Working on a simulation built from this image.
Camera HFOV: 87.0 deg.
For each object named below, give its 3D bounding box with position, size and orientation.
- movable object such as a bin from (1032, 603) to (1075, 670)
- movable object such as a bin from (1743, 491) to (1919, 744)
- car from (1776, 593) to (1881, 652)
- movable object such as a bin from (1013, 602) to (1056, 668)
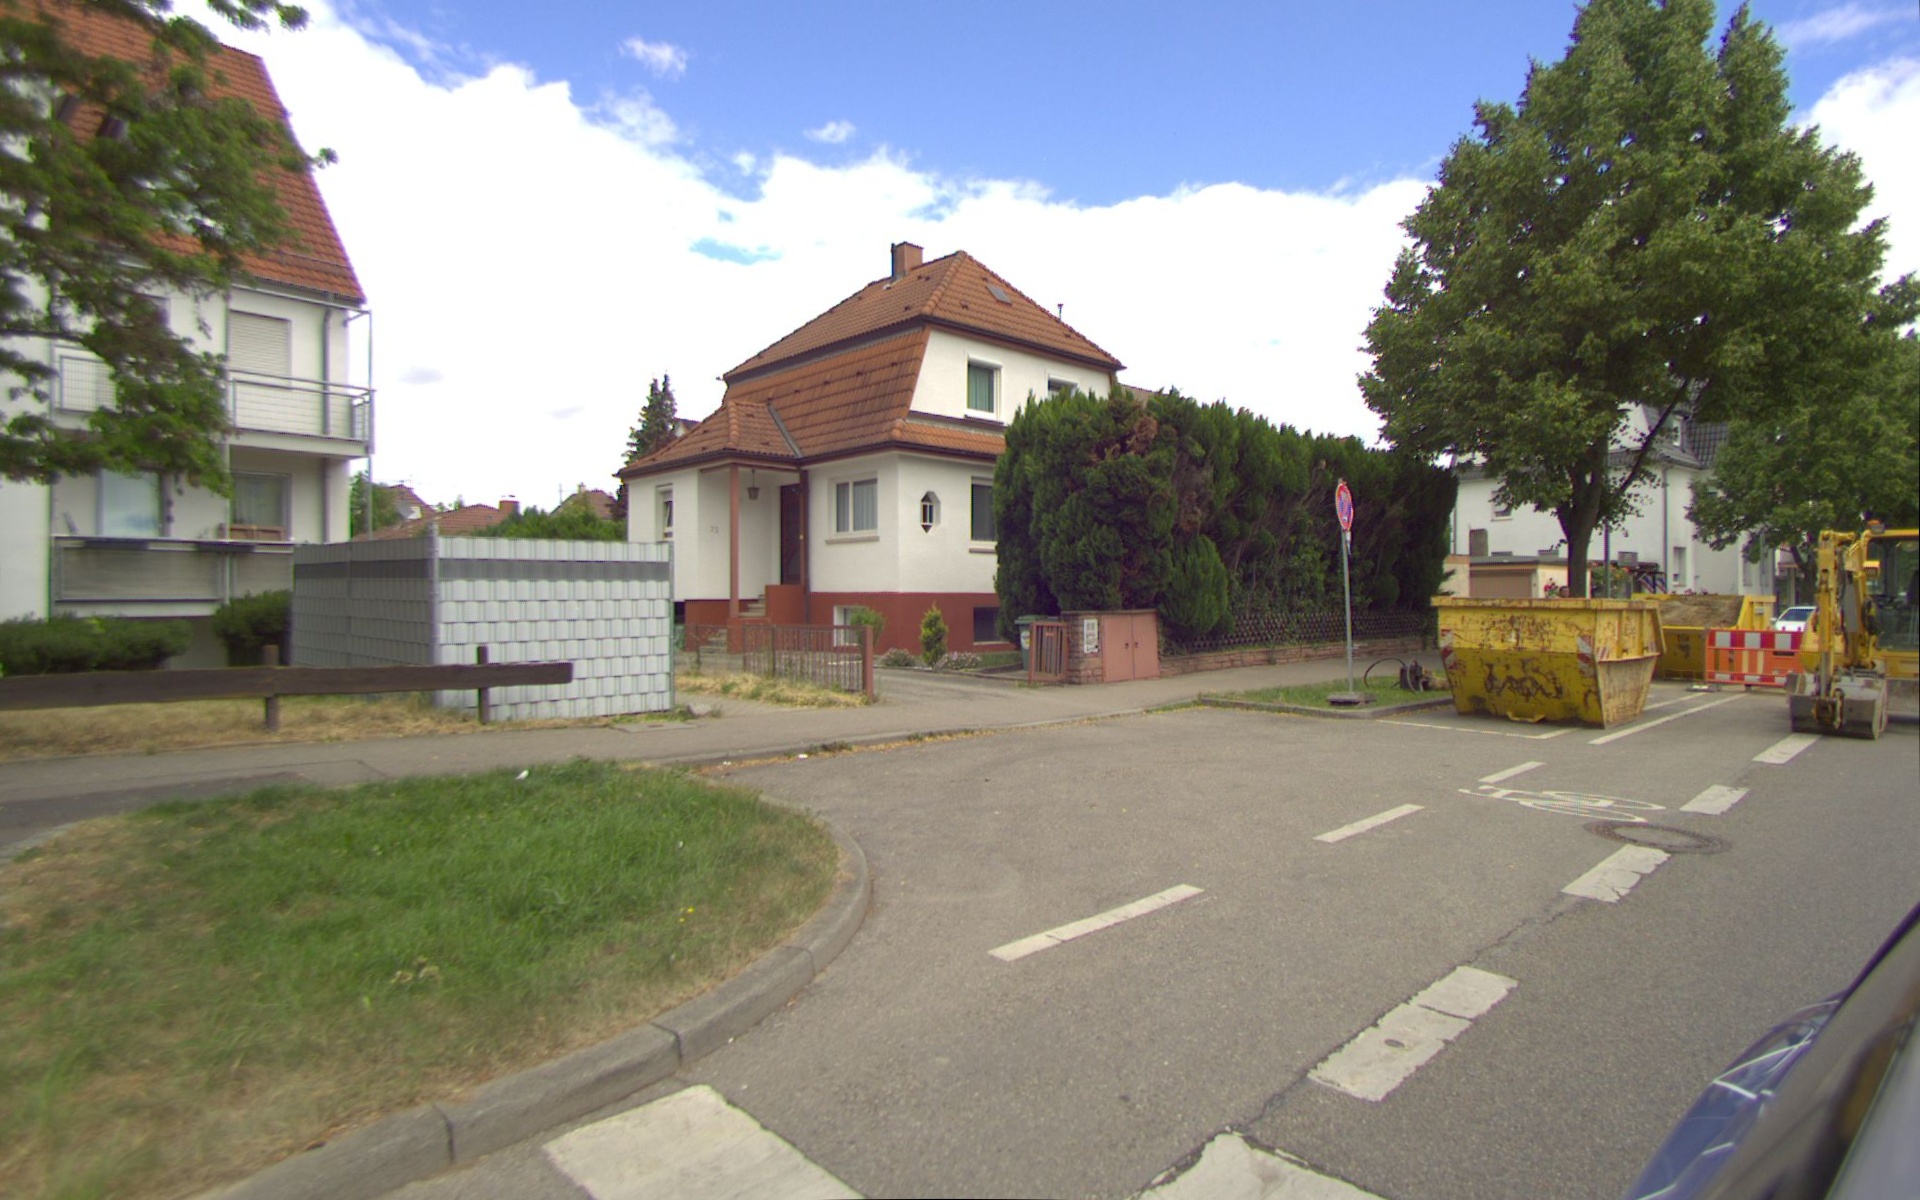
[{"bbox_3d":[1.531,0.588,16.598,0.509,1.058,0.500,1,0,-32],"label":"movable object such as a bin"},{"bbox_3d":[11.264,0.178,12.250,4.467,2.598,1.997,0,0,-41],"label":"movable object such as a bin"},{"bbox_3d":[25.813,0.625,30.040,3.977,1.605,1.821,0,0,-41],"label":"car"},{"bbox_3d":[1.257,0.576,17.061,0.508,1.072,0.542,1,0,-31],"label":"movable object such as a bin"}]
